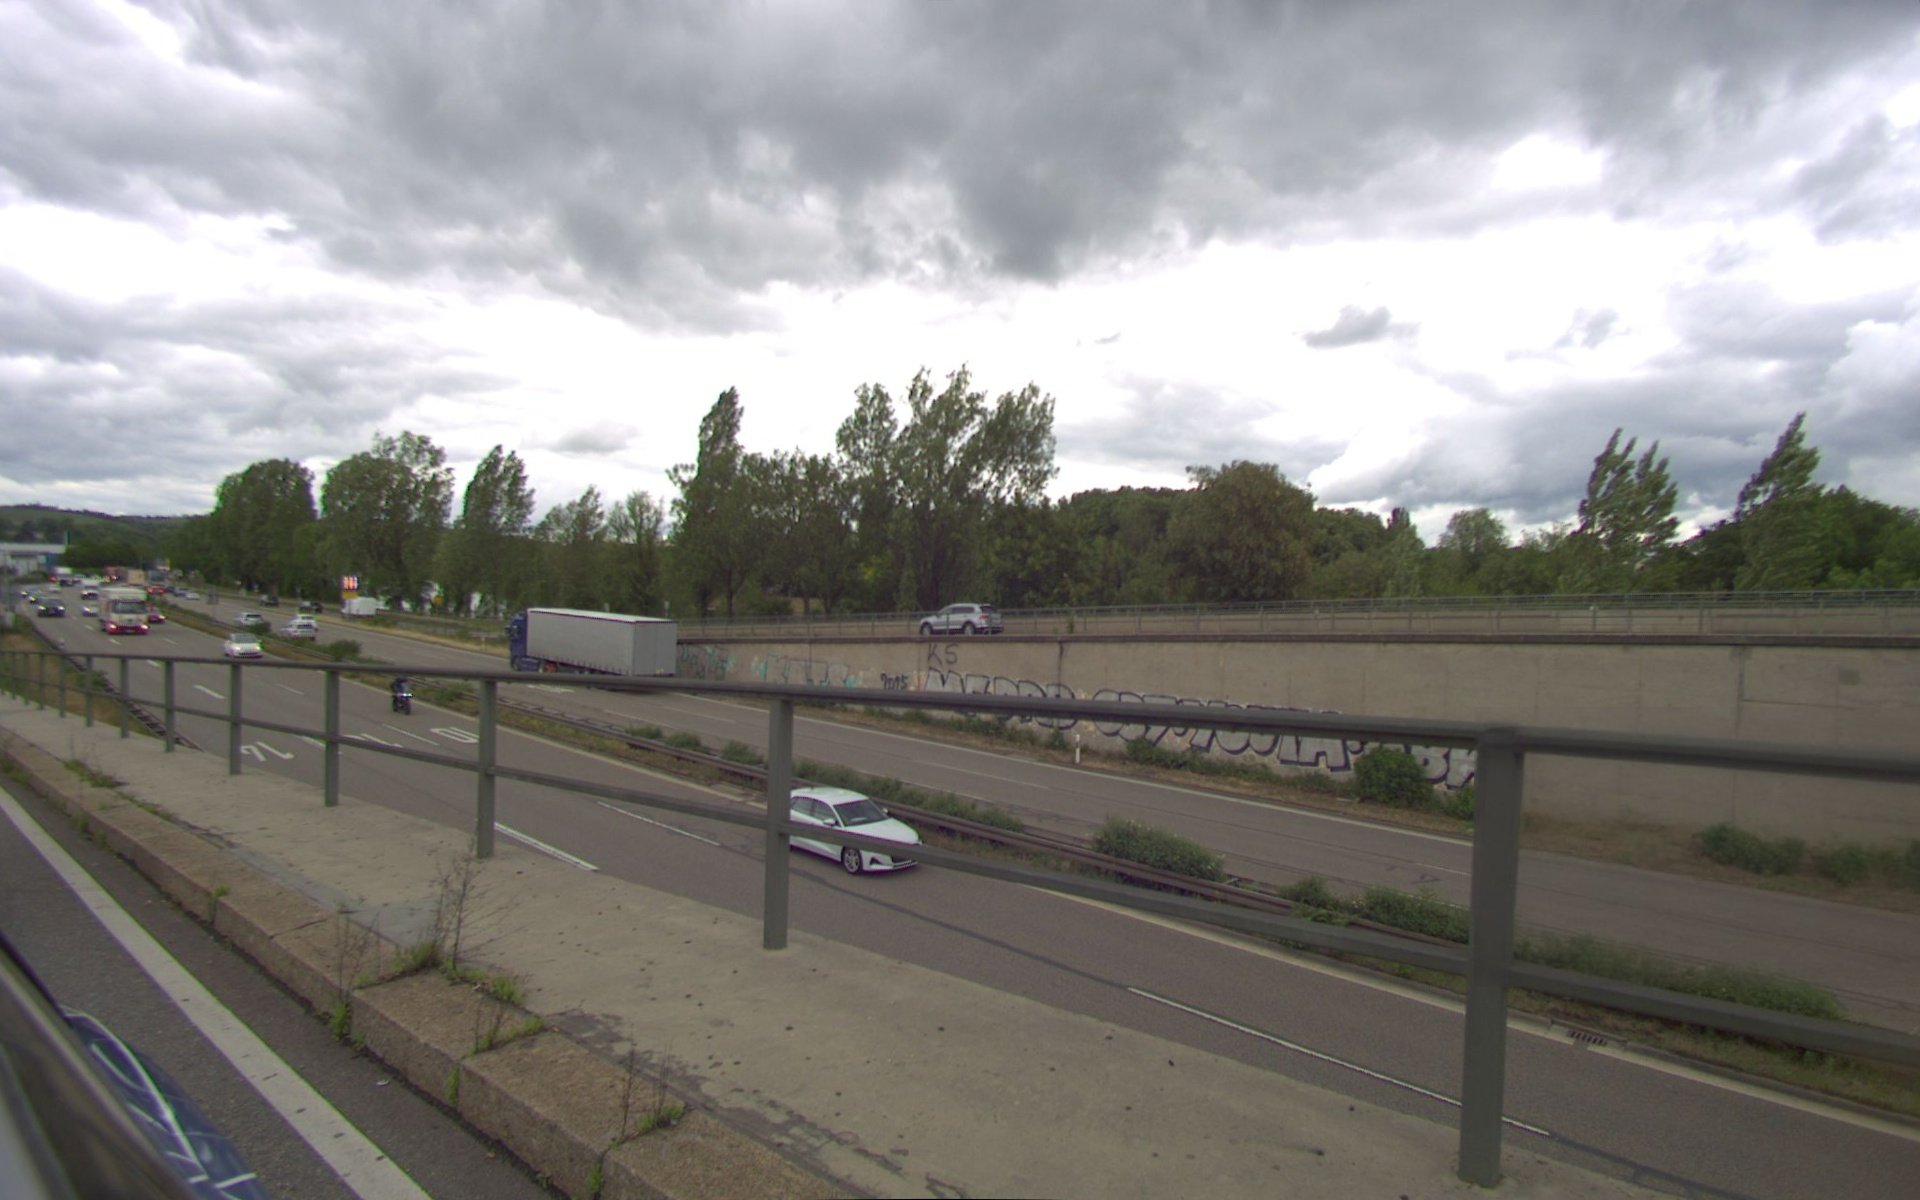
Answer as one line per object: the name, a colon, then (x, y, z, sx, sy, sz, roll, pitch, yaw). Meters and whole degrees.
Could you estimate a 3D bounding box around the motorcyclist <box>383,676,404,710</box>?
motorcyclist: (-24.880, 4.083, 44.436, 0.762, 1.382, 0.587, 2, 1, 42)

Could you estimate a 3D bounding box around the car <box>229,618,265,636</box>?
car: (-65.859, 2.515, 93.505, 4.002, 1.431, 1.971, 2, -3, 45)

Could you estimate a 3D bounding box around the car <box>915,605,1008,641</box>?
car: (0.039, 1.111, 49.334, 4.374, 1.664, 1.874, -1, 0, 40)

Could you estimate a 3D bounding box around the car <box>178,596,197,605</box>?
car: (-125.234, 0.068, 164.074, 4.002, 1.431, 1.971, 2, 1, 44)

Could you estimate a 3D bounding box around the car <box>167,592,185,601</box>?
car: (-137.015, -0.579, 176.878, 4.002, 1.431, 1.971, 2, 1, 44)

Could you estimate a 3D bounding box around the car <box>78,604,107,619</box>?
car: (-88.979, 1.184, 103.780, 4.153, 1.311, 1.766, 2, 0, 43)

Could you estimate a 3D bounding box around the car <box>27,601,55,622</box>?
car: (-89.558, 1.068, 98.622, 1.970, 1.853, 4.430, 2, 0, -43)

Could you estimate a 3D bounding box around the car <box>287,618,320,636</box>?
car: (-60.498, 2.522, 93.220, 4.002, 1.431, 1.660, 3, 0, 44)

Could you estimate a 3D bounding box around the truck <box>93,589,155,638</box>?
truck: (-68.813, 1.064, 83.183, 9.877, 3.552, 2.849, 2, -1, 45)

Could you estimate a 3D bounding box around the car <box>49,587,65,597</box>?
car: (-157.182, -1.429, 176.168, 3.335, 1.539, 1.746, 2, 0, 41)

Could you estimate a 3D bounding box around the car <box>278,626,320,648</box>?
car: (-52.968, 2.948, 81.047, 4.002, 1.431, 1.971, 2, -3, 45)

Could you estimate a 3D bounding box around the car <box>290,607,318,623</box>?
car: (-84.279, 1.939, 129.959, 4.562, 1.831, 1.861, 2, -3, 42)

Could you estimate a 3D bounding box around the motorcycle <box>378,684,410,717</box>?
motorcycle: (-24.812, 4.385, 44.372, 2.126, 1.212, 0.587, 2, 1, 43)

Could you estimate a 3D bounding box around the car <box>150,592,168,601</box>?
car: (-141.927, -0.567, 179.246, 4.002, 1.431, 1.971, 2, 1, 44)

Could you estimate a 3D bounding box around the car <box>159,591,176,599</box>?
car: (-152.827, -0.919, 195.148, 4.002, 1.431, 1.971, 2, 1, 44)

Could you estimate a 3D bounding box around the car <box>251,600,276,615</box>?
car: (-98.828, 1.021, 143.617, 4.562, 1.831, 1.861, 2, -3, 42)

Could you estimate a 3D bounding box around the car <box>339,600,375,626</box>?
car: (-69.453, 1.491, 116.523, 5.180, 2.669, 1.972, 2, -3, 42)

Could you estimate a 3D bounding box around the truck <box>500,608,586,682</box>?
truck: (-26.195, 2.730, 63.504, 5.938, 4.170, 2.755, 3, 1, 44)

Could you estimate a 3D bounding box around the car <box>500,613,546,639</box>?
car: (-37.157, 2.220, 86.042, 1.970, 1.914, 4.587, 6, -3, -44)

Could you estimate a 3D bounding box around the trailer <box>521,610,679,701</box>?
trailer: (-21.181, 2.982, 58.643, 13.770, 4.170, 2.755, 3, 1, 44)

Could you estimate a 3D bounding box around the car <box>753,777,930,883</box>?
car: (-2.856, 5.284, 23.717, 4.415, 1.432, 1.600, 2, 0, 42)

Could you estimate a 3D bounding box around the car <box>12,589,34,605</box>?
car: (-132.547, -0.409, 143.161, 4.001, 2.029, 1.971, 2, -1, 43)

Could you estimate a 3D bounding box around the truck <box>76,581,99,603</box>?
truck: (-127.687, -1.177, 148.140, 2.207, 3.031, 7.239, 1, 1, -43)

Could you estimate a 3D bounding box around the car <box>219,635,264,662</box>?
car: (-47.020, 3.141, 66.213, 3.608, 1.544, 1.674, 2, 1, 43)

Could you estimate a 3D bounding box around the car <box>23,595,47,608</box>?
car: (-115.796, 0.221, 126.686, 4.126, 1.461, 1.804, 2, 0, 41)

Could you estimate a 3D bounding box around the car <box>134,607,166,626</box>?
car: (-76.569, 1.532, 95.648, 4.183, 1.590, 1.810, 3, 2, 43)
